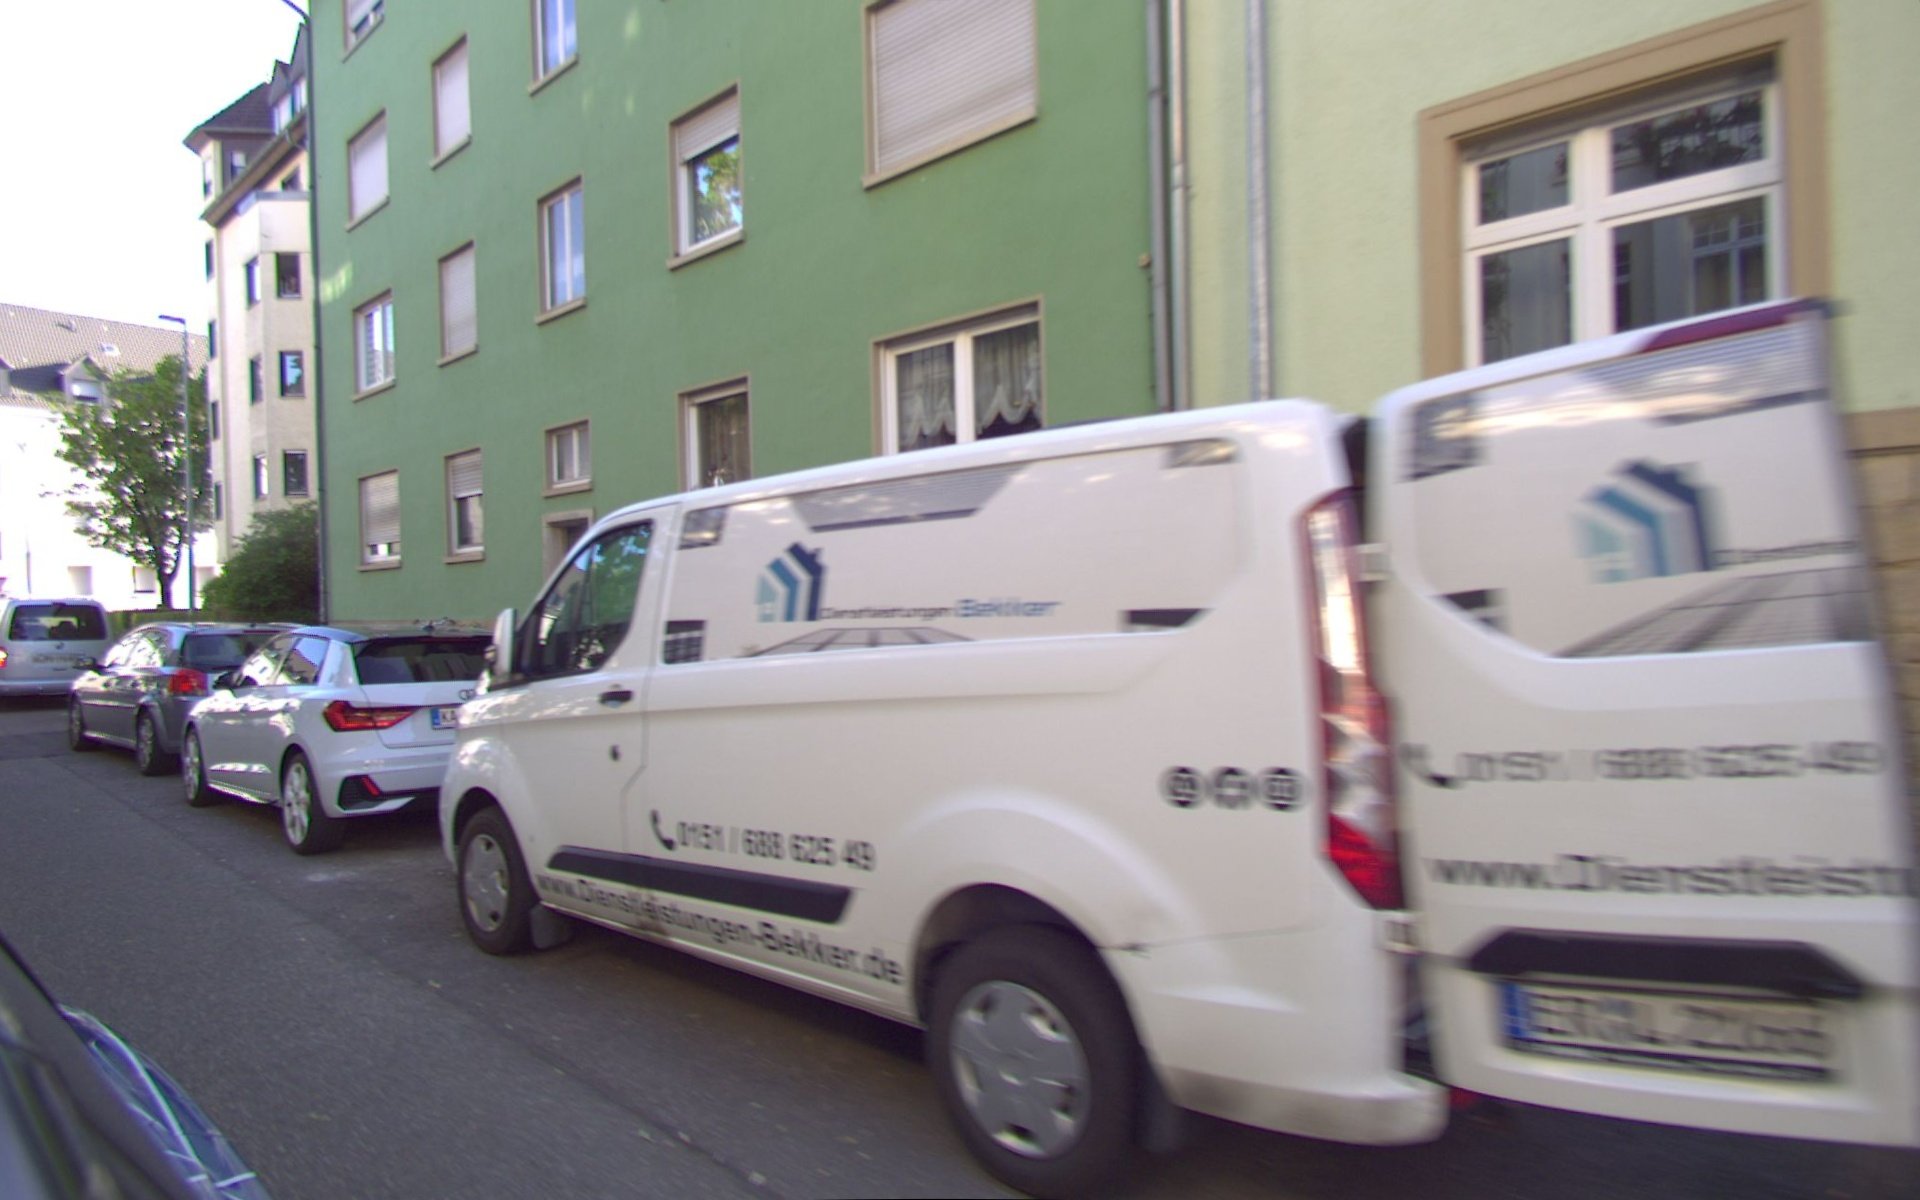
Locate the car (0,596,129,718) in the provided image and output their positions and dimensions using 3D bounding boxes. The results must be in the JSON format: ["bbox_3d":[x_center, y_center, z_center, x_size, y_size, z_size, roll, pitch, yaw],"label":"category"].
[{"bbox_3d":[-15.933,0.901,17.379,4.412,1.857,1.753,-1,-1,40],"label":"car"}]

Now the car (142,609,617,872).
[{"bbox_3d":[-4.647,0.834,7.813,4.360,1.473,1.814,-1,-2,40],"label":"car"}]

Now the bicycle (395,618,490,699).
[{"bbox_3d":[-7.731,0.837,15.080,1.969,1.083,0.482,-1,5,41],"label":"bicycle"}]

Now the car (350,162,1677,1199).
[{"bbox_3d":[-0.302,0.403,4.231,5.238,2.185,2.229,-1,-2,39],"label":"car"}]

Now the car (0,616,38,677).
[{"bbox_3d":[-26.555,1.235,27.296,4.065,1.567,1.703,-1,-1,36],"label":"car"}]

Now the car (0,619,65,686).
[{"bbox_3d":[-22.560,1.194,23.738,4.204,1.464,1.748,-2,-3,41],"label":"car"}]

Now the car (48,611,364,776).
[{"bbox_3d":[-8.411,0.881,11.139,4.501,1.473,1.703,-1,-2,39],"label":"car"}]
